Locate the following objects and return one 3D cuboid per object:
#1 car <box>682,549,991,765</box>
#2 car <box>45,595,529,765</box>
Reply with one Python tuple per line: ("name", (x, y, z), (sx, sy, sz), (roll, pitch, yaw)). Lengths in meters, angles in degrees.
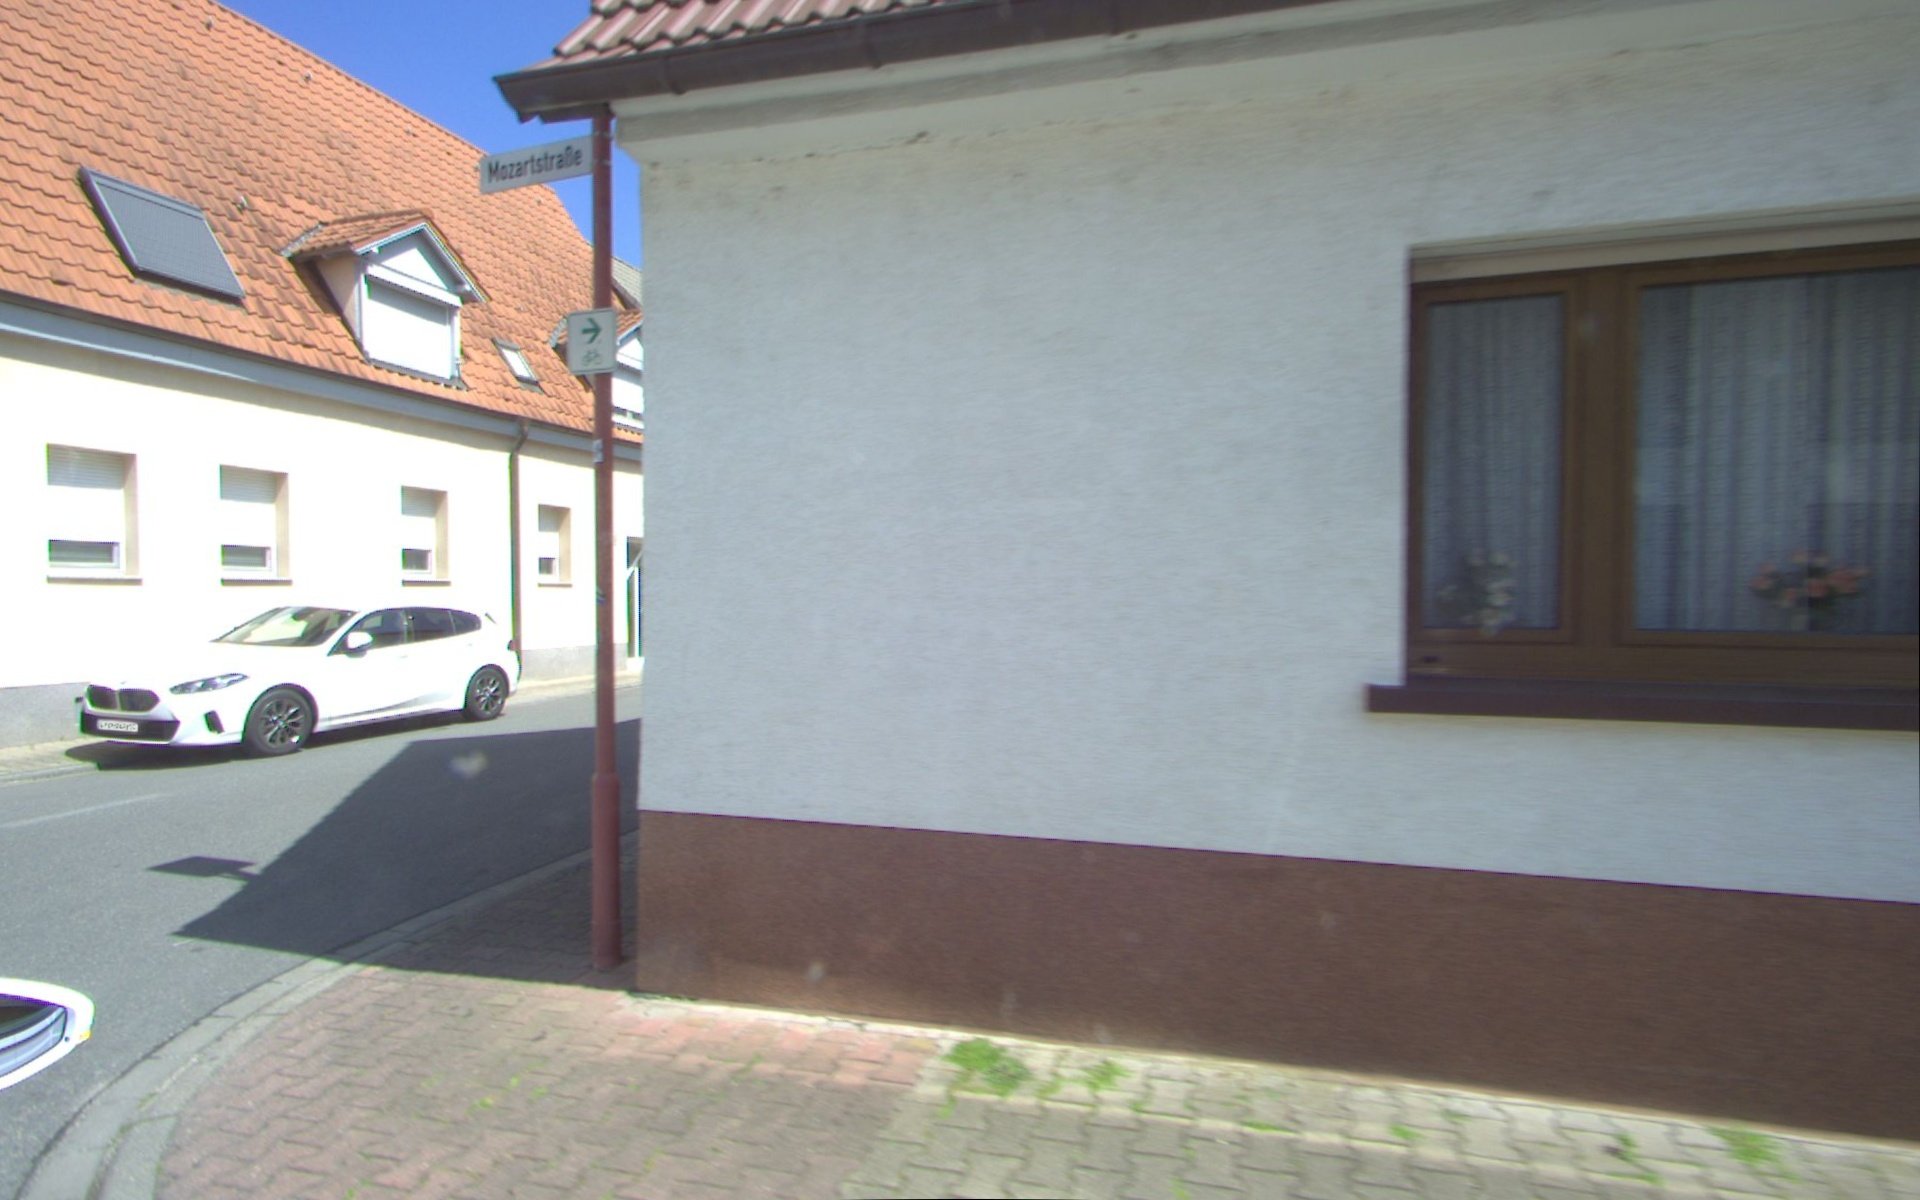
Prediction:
("car", (-1.068, 0.499, 11.310), (1.782, 1.849, 4.845), (2, 0, 14))
("car", (-6.919, 0.701, 10.927), (1.756, 1.473, 4.208), (0, 0, 17))
